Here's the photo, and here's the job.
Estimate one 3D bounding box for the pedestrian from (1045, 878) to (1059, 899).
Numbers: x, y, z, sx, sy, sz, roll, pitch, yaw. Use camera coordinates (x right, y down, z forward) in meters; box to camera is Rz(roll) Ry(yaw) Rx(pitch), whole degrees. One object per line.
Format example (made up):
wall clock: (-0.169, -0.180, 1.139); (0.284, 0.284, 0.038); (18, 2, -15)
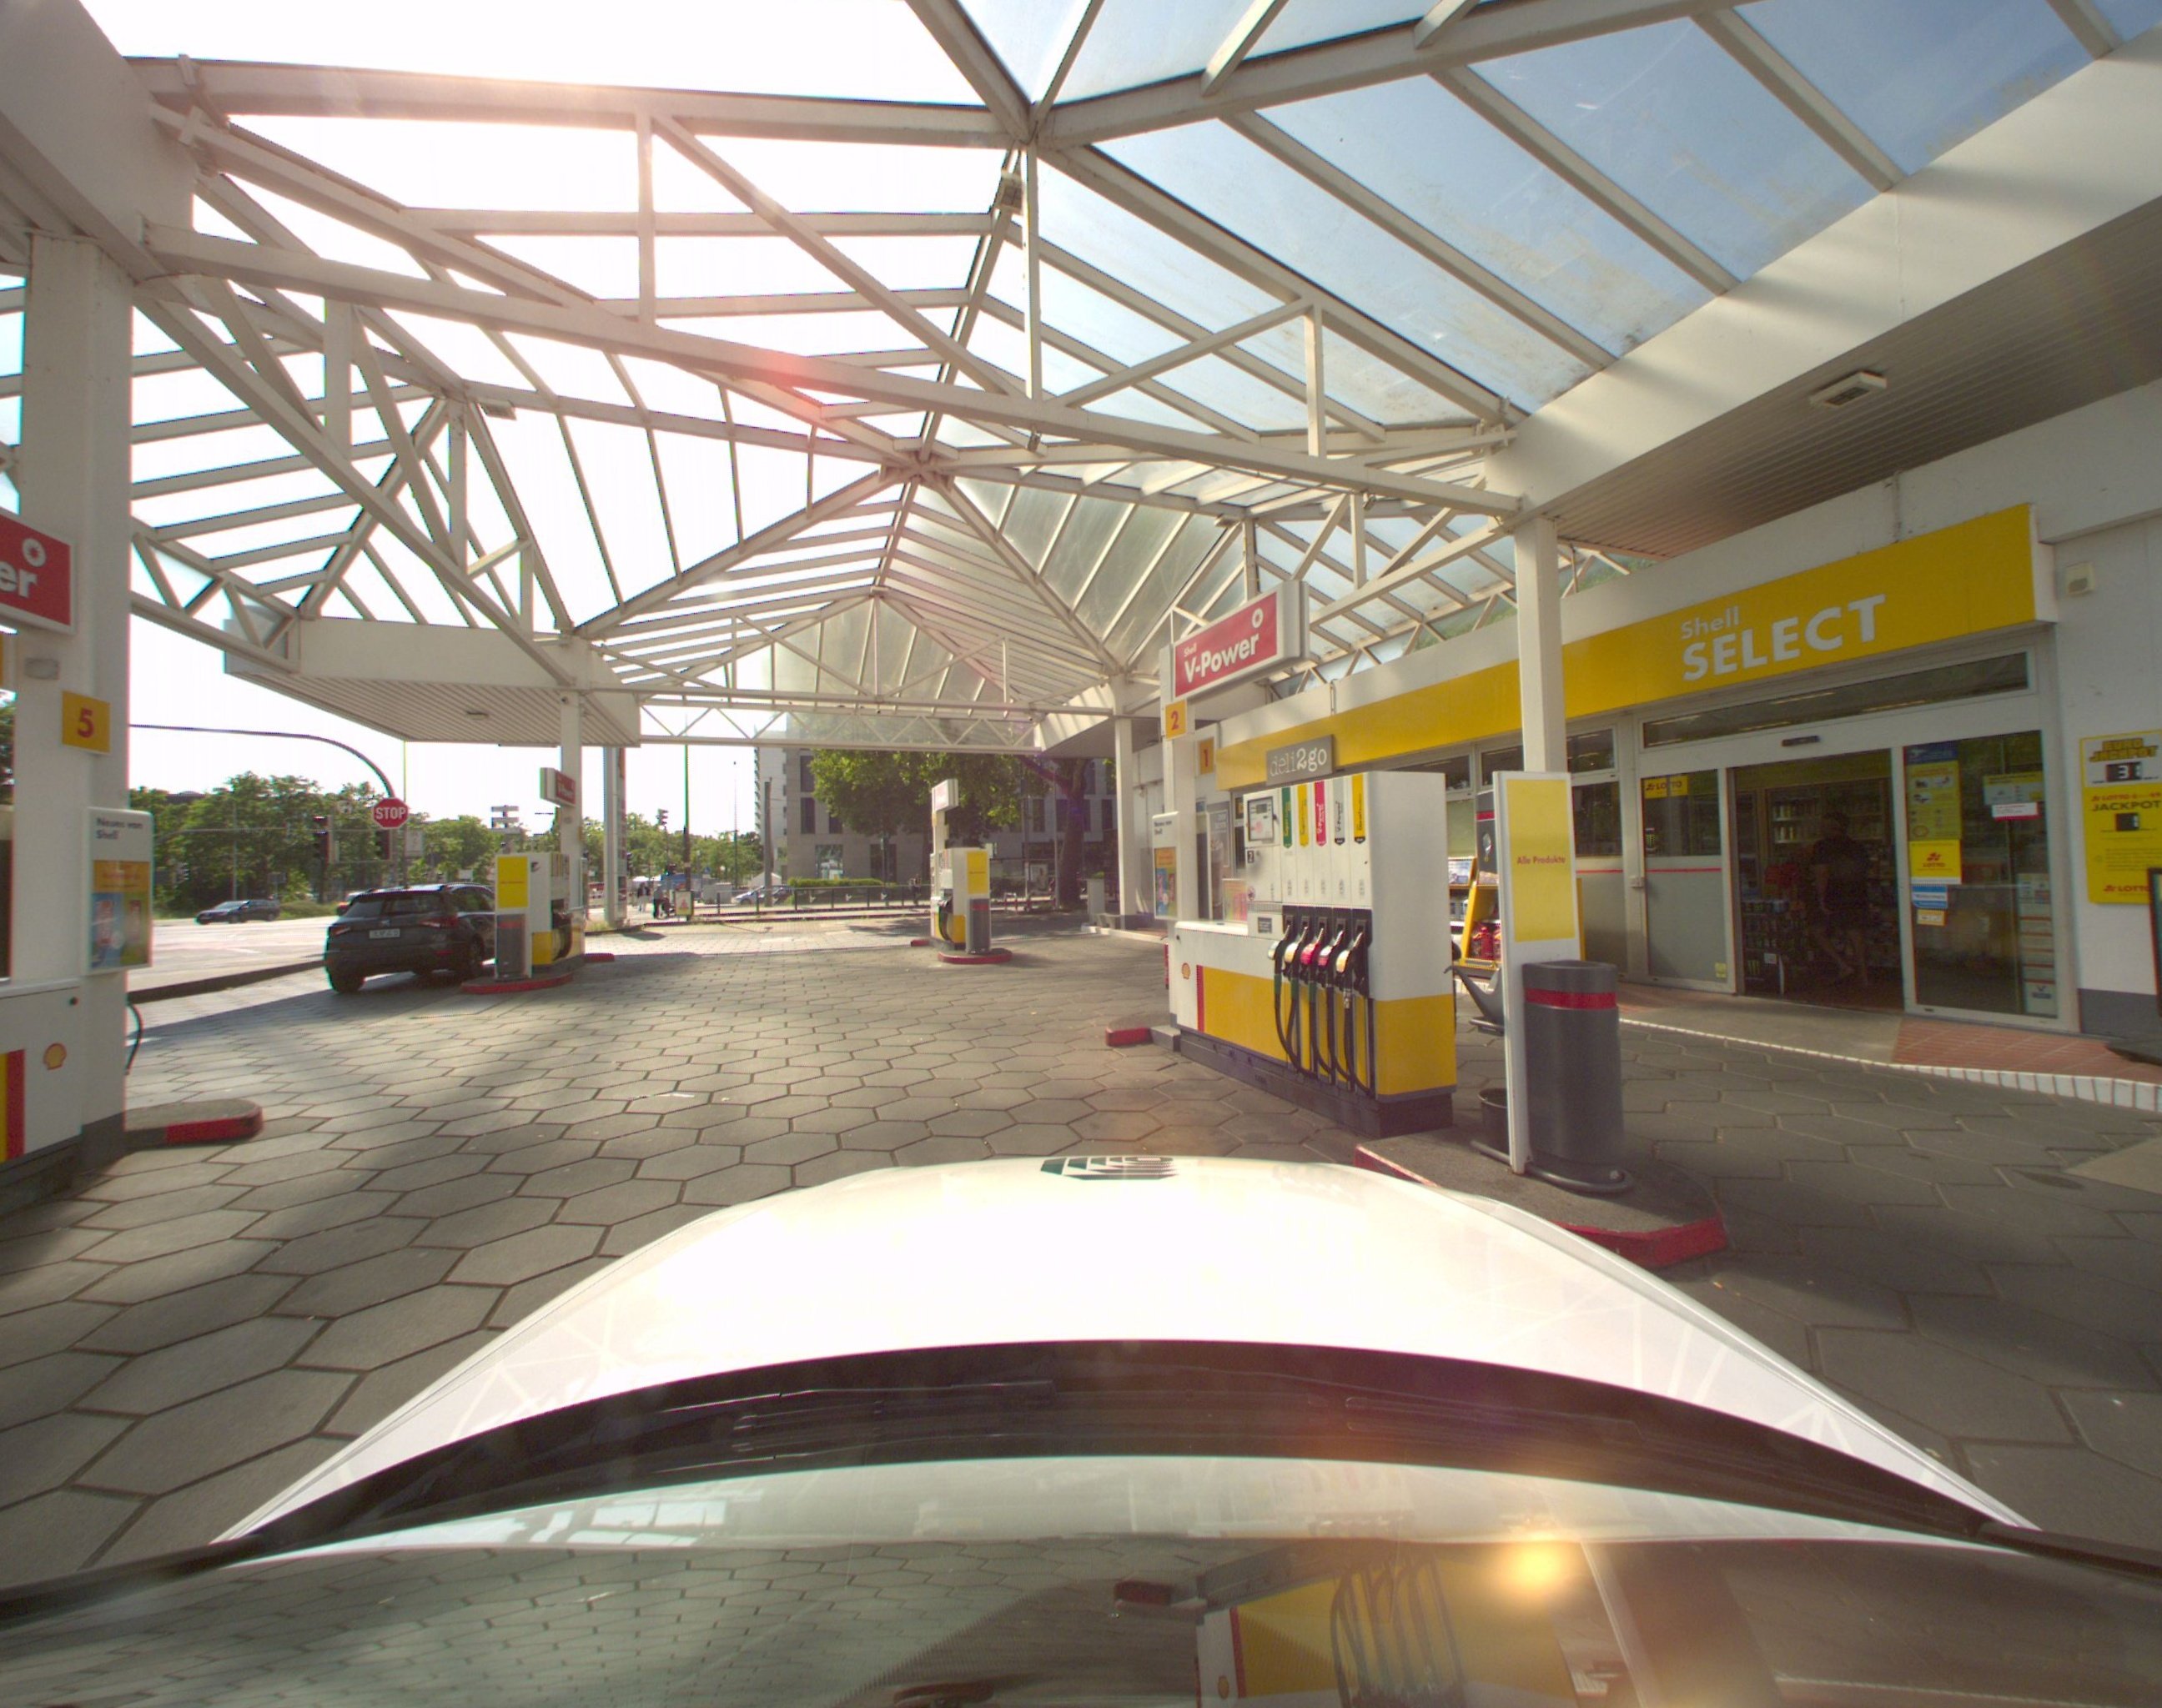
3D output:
pedestrian: (-1.663, 1.967, 46.606); (0.629, 1.138, 0.521); (-1, -2, -14)

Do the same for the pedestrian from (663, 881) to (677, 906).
pedestrian: (-25.986, 2.470, 51.515); (0.651, 1.540, 0.501); (-1, -2, -12)

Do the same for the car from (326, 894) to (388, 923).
car: (-57.216, 4.253, 64.474); (1.999, 2.014, 4.419); (-3, -1, -18)

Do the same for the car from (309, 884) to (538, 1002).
car: (-10.565, 1.327, 13.461); (1.750, 1.532, 3.971); (-2, -2, -21)

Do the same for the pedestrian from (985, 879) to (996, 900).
pedestrian: (-5.031, 1.967, 45.229); (0.500, 1.138, 0.521); (-1, -2, -14)

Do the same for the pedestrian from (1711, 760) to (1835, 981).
pedestrian: (6.661, 0.151, 7.852); (0.745, 2.014, 0.617); (-1, -2, -30)

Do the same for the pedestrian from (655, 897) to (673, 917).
pedestrian: (-20.042, 2.543, 39.172); (0.696, 0.880, 0.497); (-1, -2, -36)

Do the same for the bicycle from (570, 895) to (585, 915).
bicycle: (-28.634, 2.867, 46.295); (0.642, 1.082, 2.006); (-1, -2, -30)

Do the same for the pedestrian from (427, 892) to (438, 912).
pedestrian: (-47.027, 3.470, 59.032); (0.567, 1.469, 0.508); (0, -2, -35)

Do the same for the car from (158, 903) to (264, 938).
car: (-54.054, 4.107, 50.729); (1.988, 1.805, 4.209); (-4, -1, -1)

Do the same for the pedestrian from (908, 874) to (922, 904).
pedestrian: (-8.882, 1.872, 43.498); (0.586, 1.591, 0.665); (-1, 0, -21)

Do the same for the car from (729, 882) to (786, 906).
car: (-23.390, 2.878, 58.850); (3.701, 1.552, 1.578); (-1, -2, -26)

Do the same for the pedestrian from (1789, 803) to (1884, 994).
pedestrian: (7.357, 0.417, 7.933); (0.533, 1.762, 0.566); (0, -2, -41)

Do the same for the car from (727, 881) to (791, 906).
car: (-22.143, 2.723, 56.043); (4.008, 1.552, 1.688); (-1, -2, -26)

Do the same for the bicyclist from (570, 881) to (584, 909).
bicyclist: (-28.704, 2.334, 46.403); (0.642, 1.580, 1.162); (-1, -2, -30)

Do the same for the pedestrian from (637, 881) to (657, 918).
pedestrian: (-20.660, 2.156, 38.743); (0.782, 1.683, 0.497); (0, -2, -36)

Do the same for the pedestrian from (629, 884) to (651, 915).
pedestrian: (-24.382, 2.505, 45.032); (0.930, 1.683, 0.502); (-1, -2, -6)
